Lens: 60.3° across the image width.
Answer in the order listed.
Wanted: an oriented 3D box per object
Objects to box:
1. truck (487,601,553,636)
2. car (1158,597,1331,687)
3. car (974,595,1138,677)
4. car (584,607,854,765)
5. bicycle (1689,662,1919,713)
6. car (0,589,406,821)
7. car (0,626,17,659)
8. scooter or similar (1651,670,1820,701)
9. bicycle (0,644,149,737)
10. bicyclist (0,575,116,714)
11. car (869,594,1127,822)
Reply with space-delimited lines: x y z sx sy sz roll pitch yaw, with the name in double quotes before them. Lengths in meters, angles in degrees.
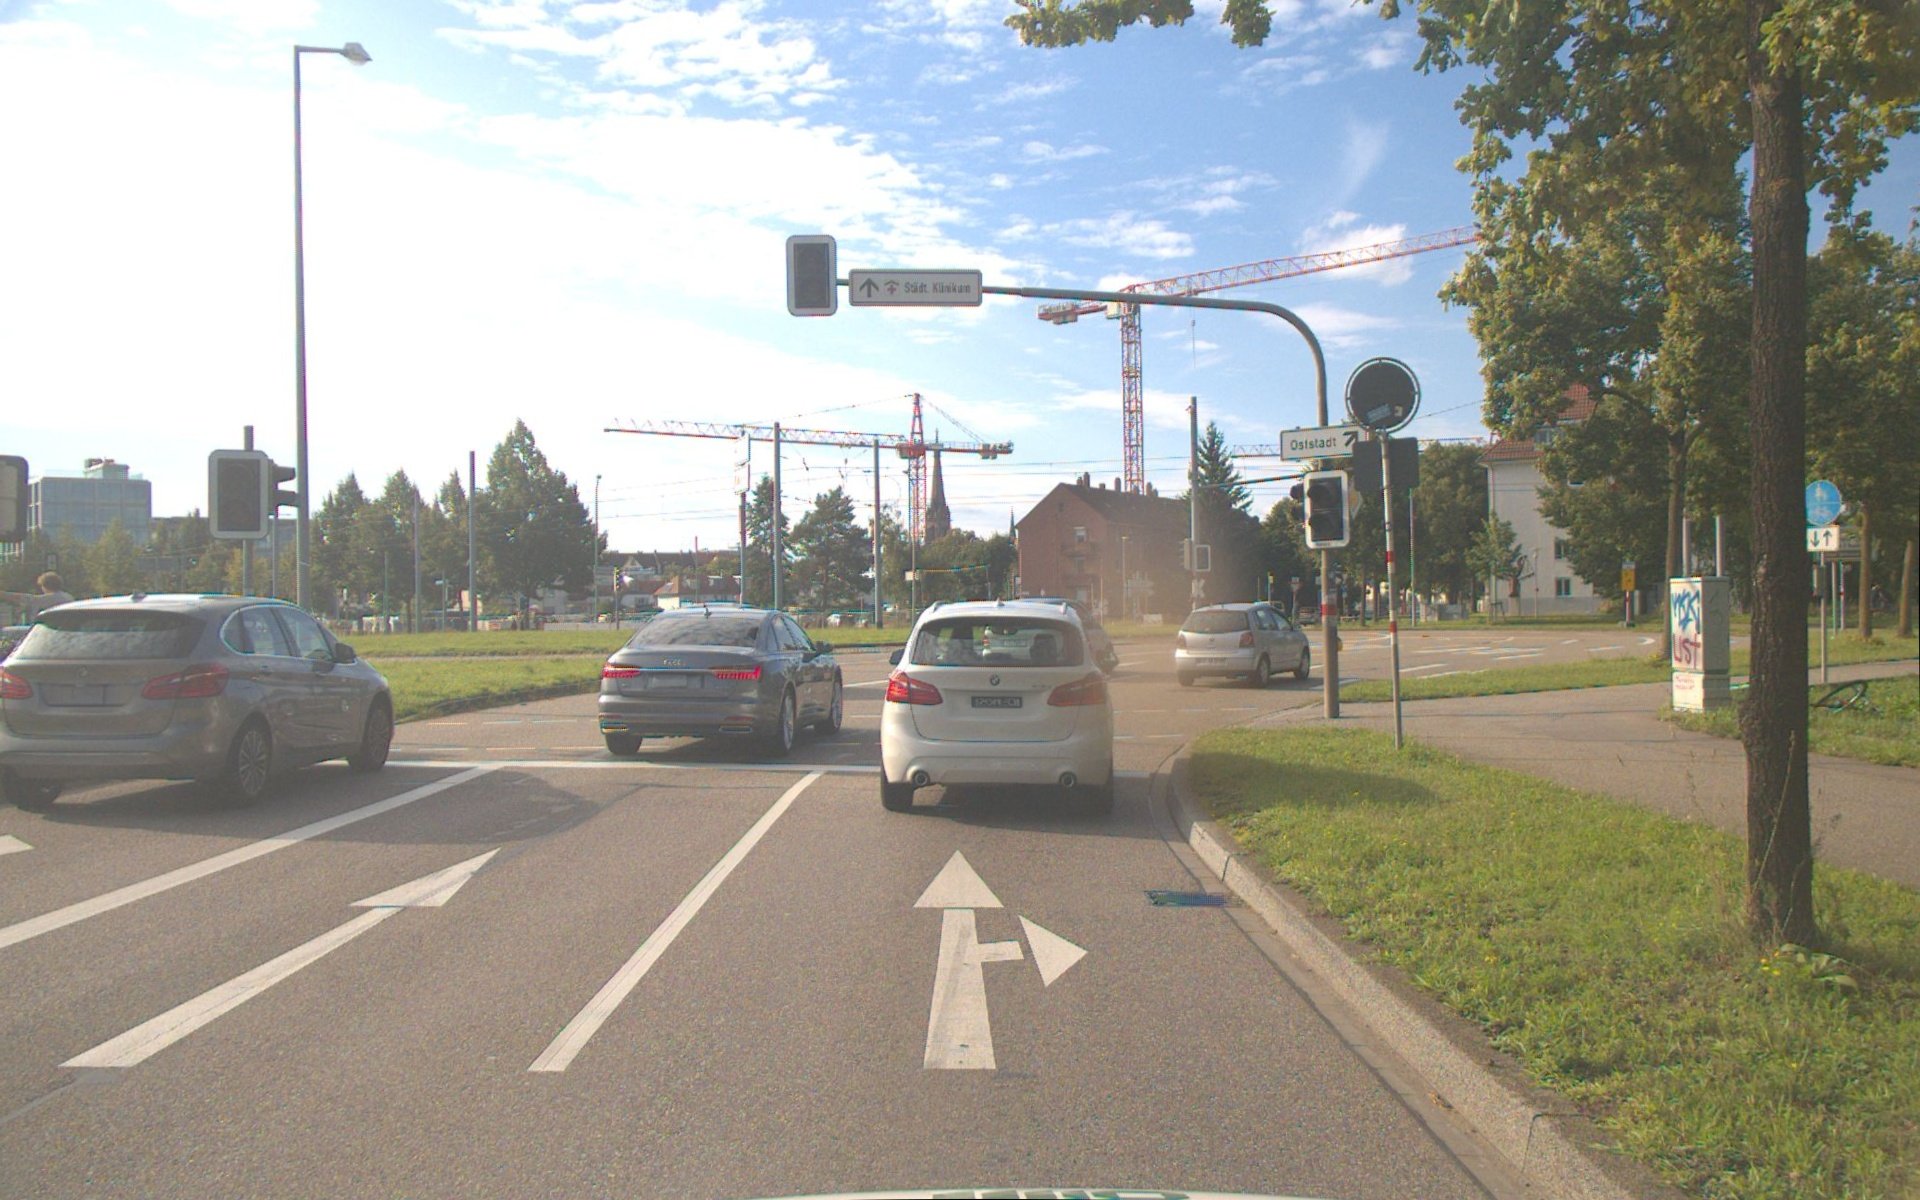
"truck" -42.513 1.837 159.651 7.188 3.263 2.798 -2 -1 43
"car" 5.404 0.719 30.918 1.816 1.451 4.447 0 1 29
"car" 2.053 0.686 34.124 1.814 1.503 4.451 0 1 26
"car" -2.417 0.822 17.856 1.811 1.470 4.718 0 0 5
"bicycle" 9.319 0.936 18.111 1.077 0.352 2.223 0 2 -34
"car" -6.042 0.742 13.465 1.732 1.600 4.066 0 0 -1
"car" -43.564 1.918 73.057 1.729 1.445 3.996 -1 0 -5
"scooter or similar" 9.849 1.078 21.025 1.529 0.286 1.283 -1 0 -25
"bicycle" -10.801 1.062 19.551 1.914 1.025 1.002 -1 -1 4
"bicyclist" -10.677 0.513 19.537 0.845 1.583 0.998 -1 -1 4
"car" 0.244 0.776 13.861 1.813 1.600 4.454 0 0 -1
